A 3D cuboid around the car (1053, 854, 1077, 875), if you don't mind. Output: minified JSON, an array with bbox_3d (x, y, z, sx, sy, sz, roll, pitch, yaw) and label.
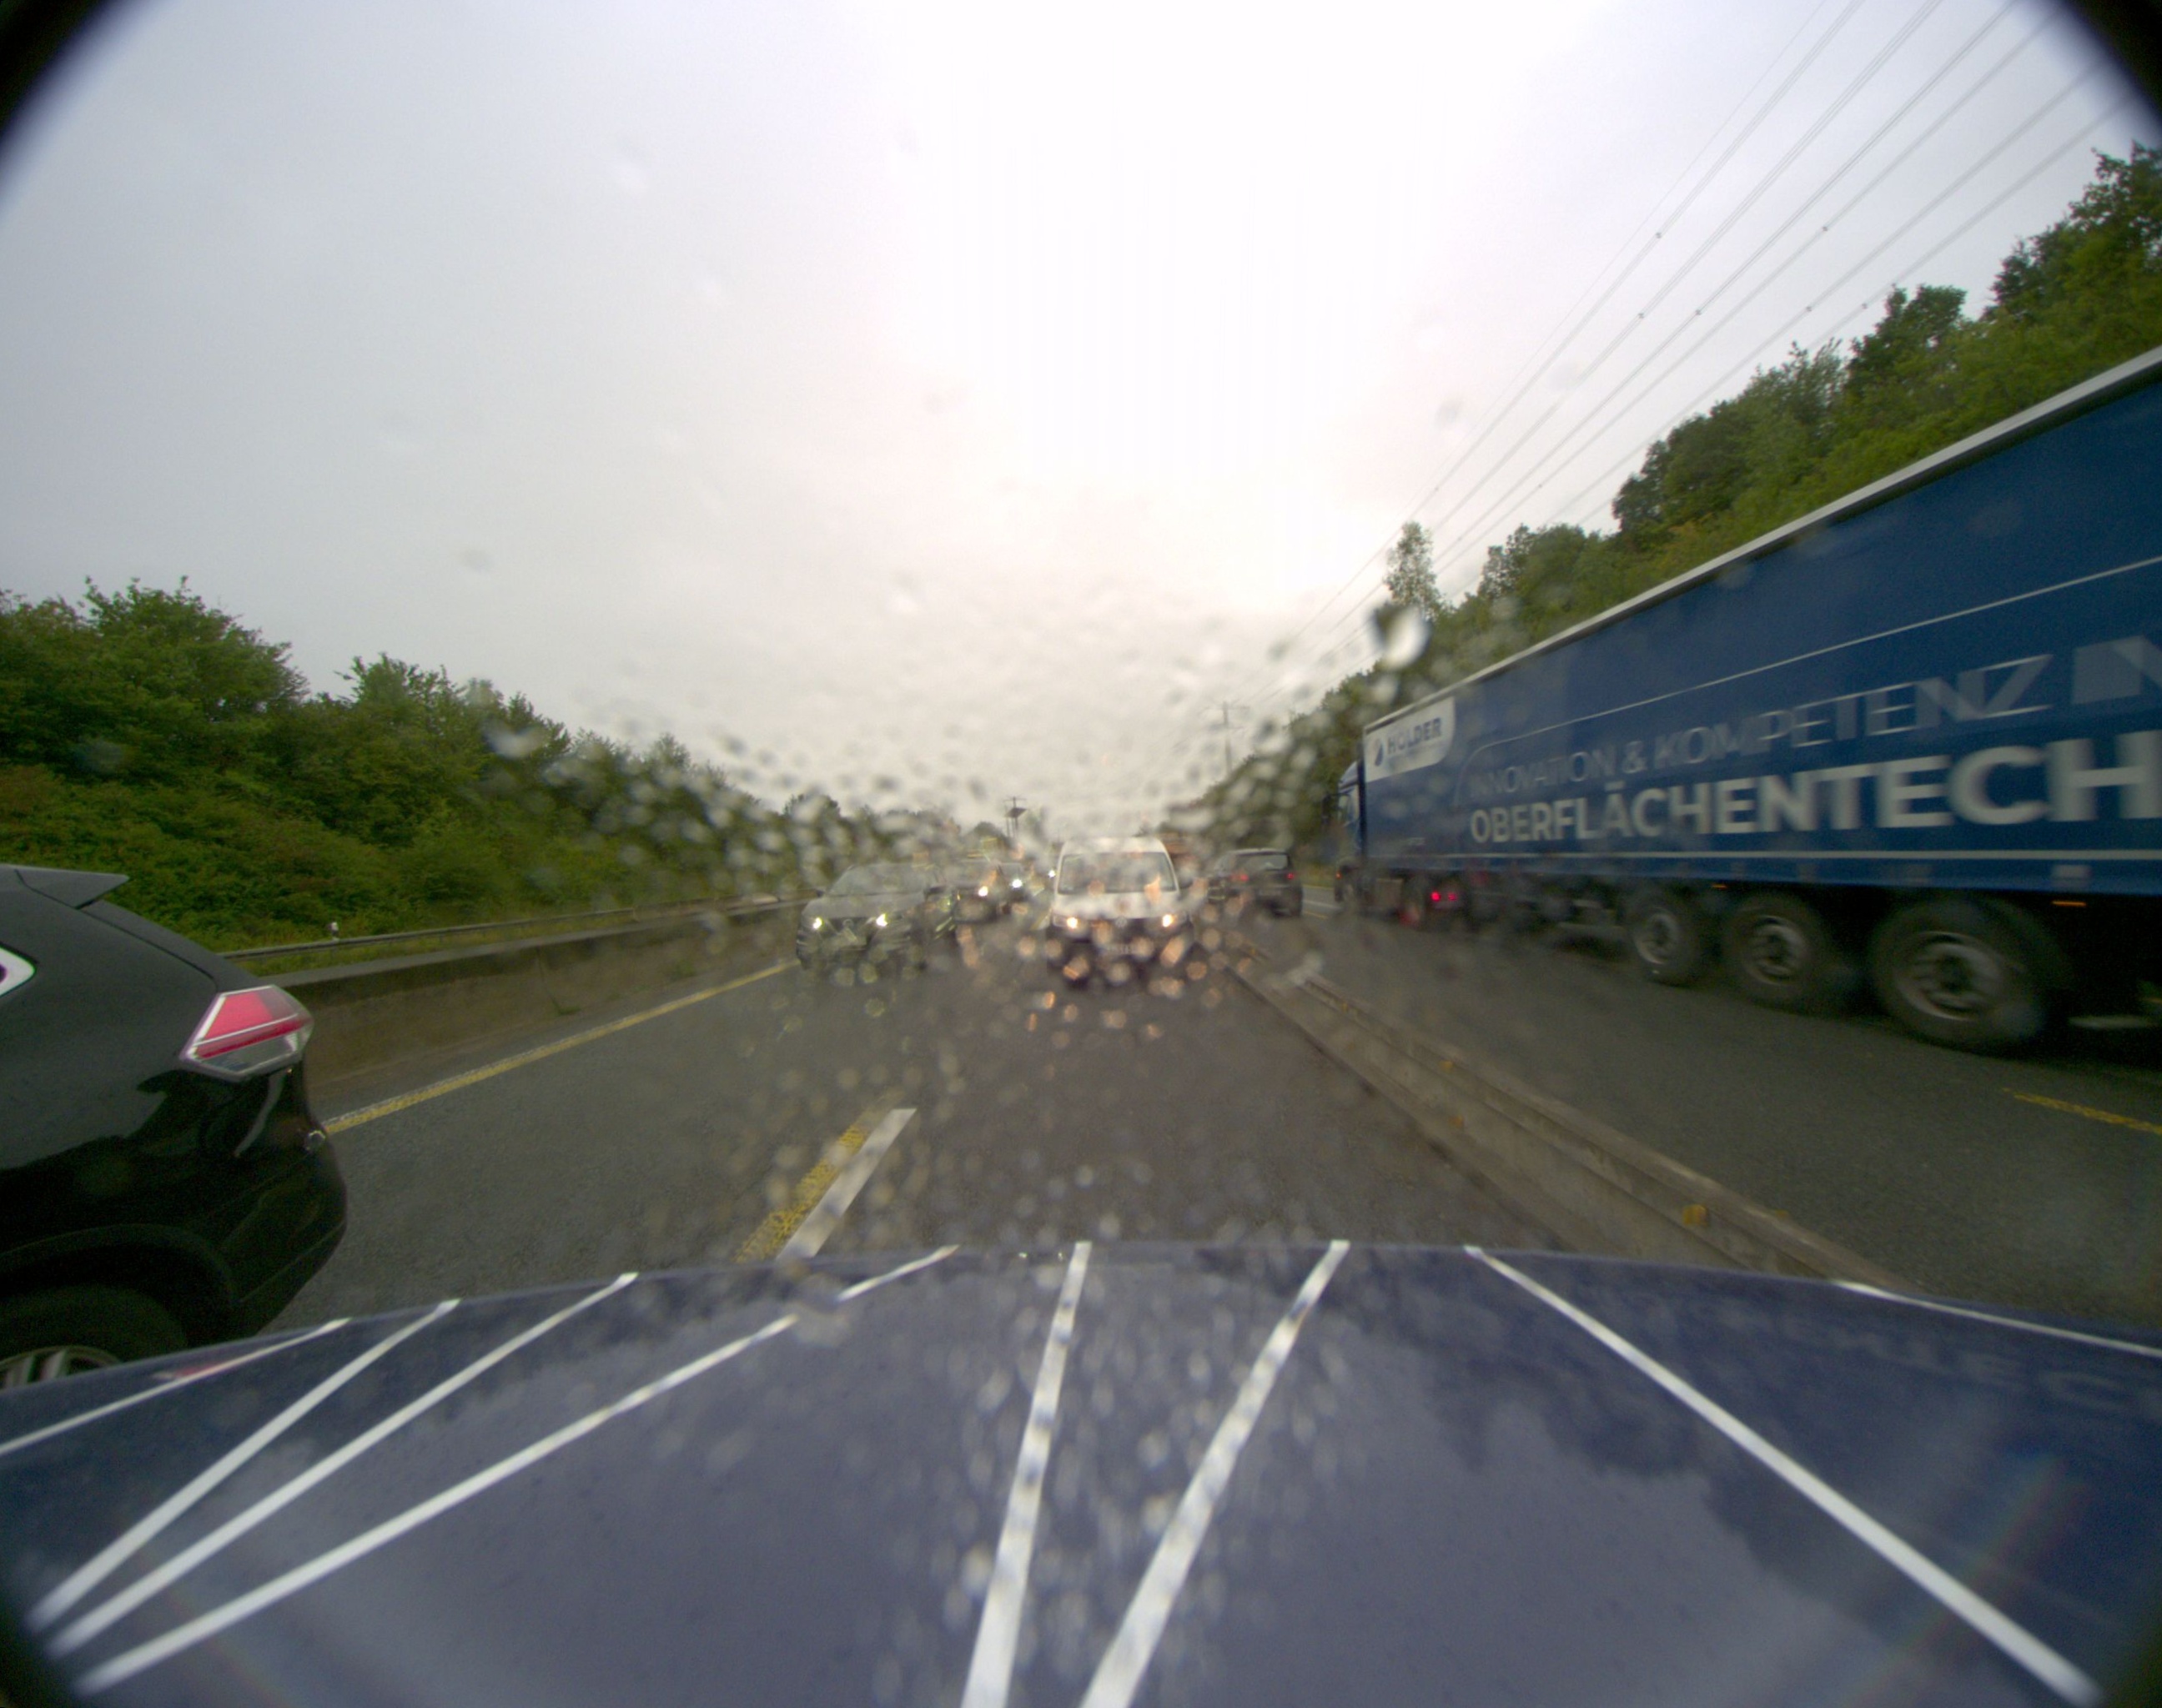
[{"bbox_3d":[-1.252,0.813,60.590,1.784,1.482,4.123,-2,1,0],"label":"car"}]

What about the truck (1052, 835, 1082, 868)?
[{"bbox_3d":[-1.466,-0.308,84.855,2.619,3.404,9.576,-2,1,2],"label":"truck"}]

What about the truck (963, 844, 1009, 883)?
[{"bbox_3d":[-8.936,0.830,72.650,2.619,3.404,9.576,-2,1,3],"label":"truck"}]

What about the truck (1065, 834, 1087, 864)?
[{"bbox_3d":[-0.626,-0.677,104.359,2.619,3.868,9.574,-2,1,0],"label":"truck"}]

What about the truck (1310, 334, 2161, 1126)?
[{"bbox_3d":[7.067,-0.734,10.460,2.773,4.099,16.925,-2,1,1],"label":"truck"}]

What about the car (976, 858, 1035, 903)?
[{"bbox_3d":[-2.812,0.944,29.128,1.784,1.482,4.123,-2,1,0],"label":"car"}]

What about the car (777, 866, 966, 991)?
[{"bbox_3d":[-3.081,1.019,12.116,1.784,1.482,4.123,-2,1,0],"label":"car"}]

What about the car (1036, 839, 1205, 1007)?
[{"bbox_3d":[0.443,0.728,10.645,1.784,1.775,4.697,-2,1,0],"label":"car"}]

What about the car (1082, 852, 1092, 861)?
[{"bbox_3d":[1.107,0.457,139.195,1.651,1.559,4.000,-2,1,1],"label":"car"}]

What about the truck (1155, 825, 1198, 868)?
[{"bbox_3d":[8.858,-0.734,71.611,2.688,3.635,12.311,-2,1,2],"label":"truck"}]

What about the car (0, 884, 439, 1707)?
[{"bbox_3d":[-3.118,0.989,0.181,1.894,1.665,4.640,-2,1,0],"label":"car"}]

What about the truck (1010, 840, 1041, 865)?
[{"bbox_3d":[-8.079,-0.228,111.887,3.329,3.404,9.576,-2,1,3],"label":"truck"}]

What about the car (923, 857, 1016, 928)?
[{"bbox_3d":[-2.866,0.948,20.379,1.784,1.589,4.123,-2,1,0],"label":"car"}]

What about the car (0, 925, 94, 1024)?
[{"bbox_3d":[-21.448,2.399,13.630,1.733,1.759,4.329,-2,1,0],"label":"car"}]

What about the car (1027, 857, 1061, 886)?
[{"bbox_3d":[-2.152,1.010,45.485,1.784,1.482,4.123,-2,1,0],"label":"car"}]

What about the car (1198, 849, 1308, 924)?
[{"bbox_3d":[4.116,0.703,18.856,1.788,1.600,4.103,-2,1,0],"label":"car"}]
